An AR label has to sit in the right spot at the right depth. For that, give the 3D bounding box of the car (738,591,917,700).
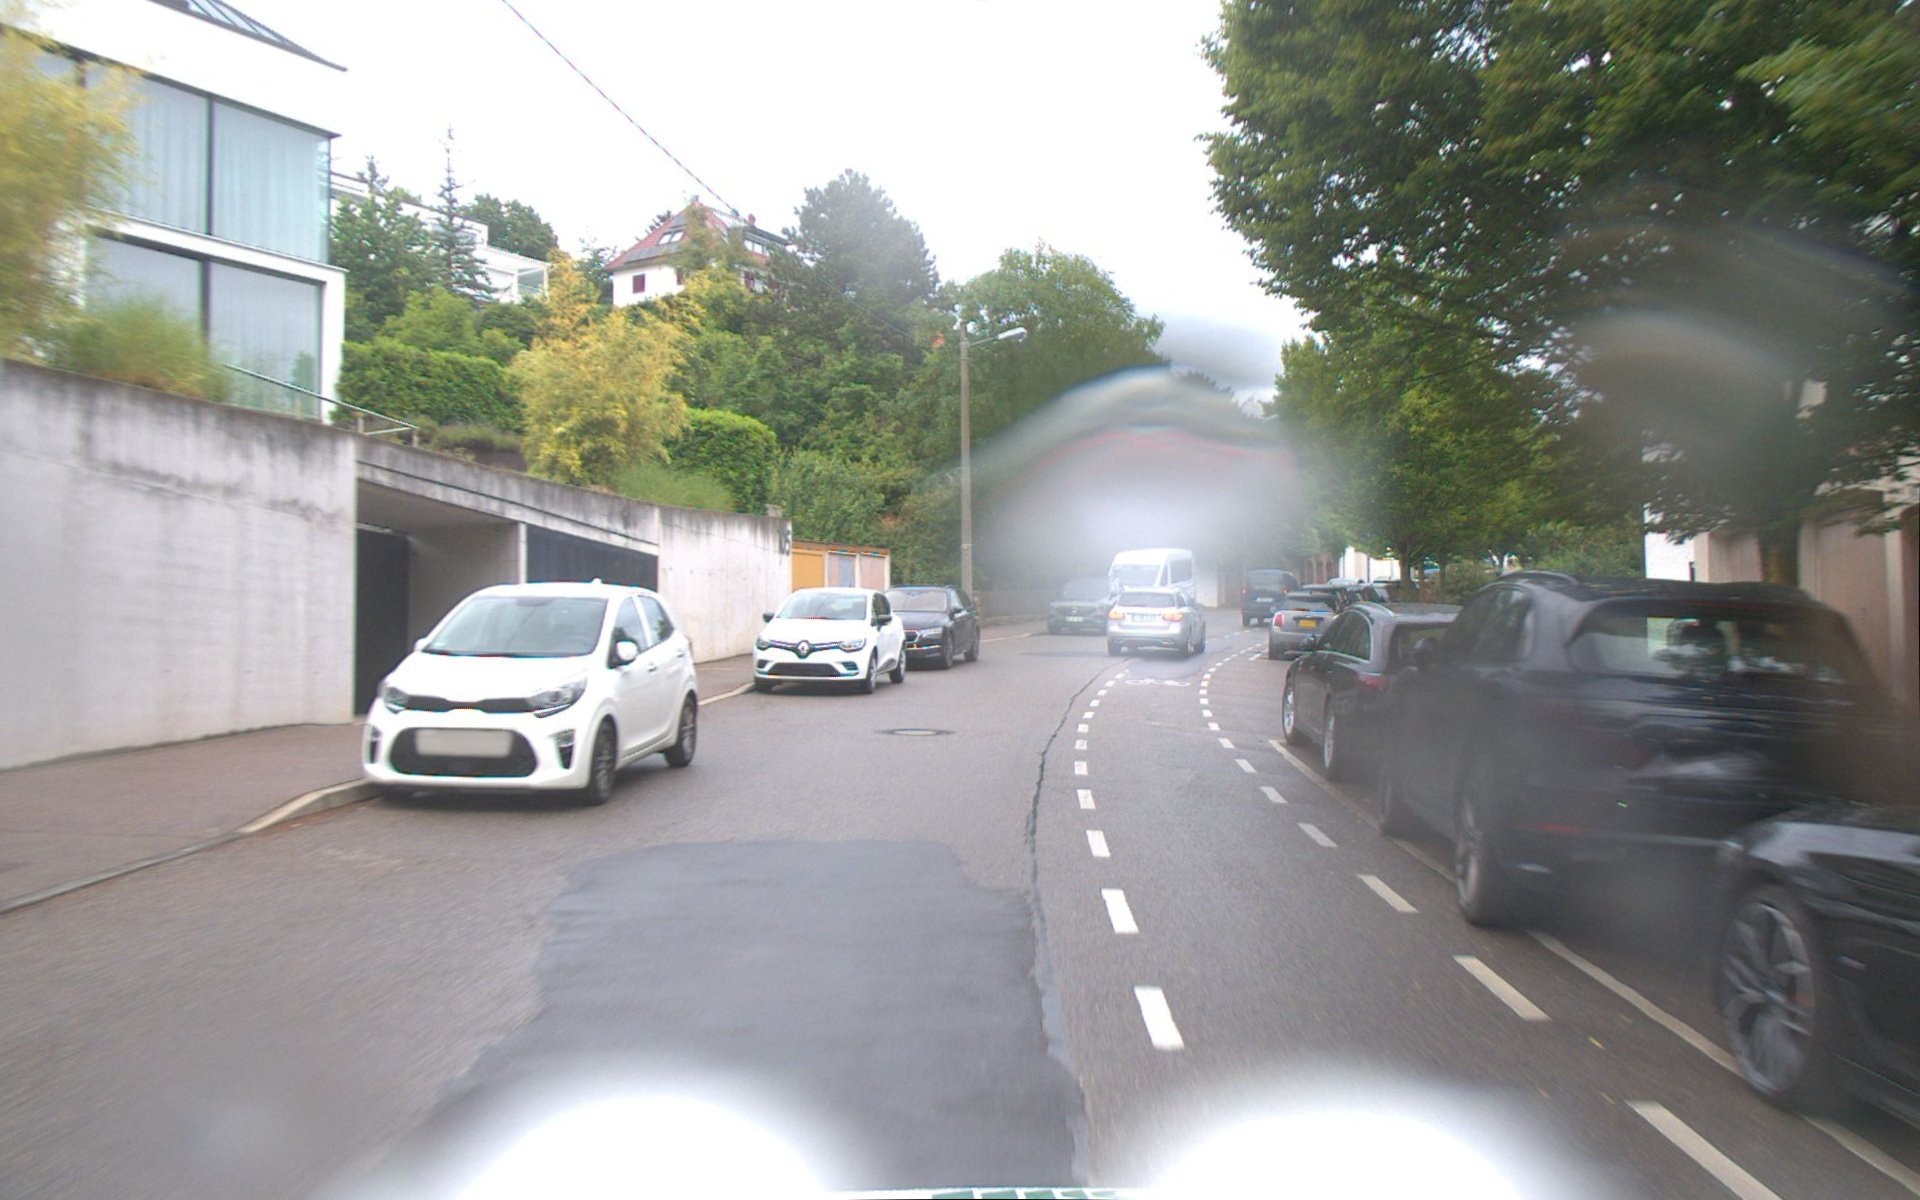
[{"bbox_3d":[-1.848,0.600,24.388,1.793,1.465,4.043,0,0,8],"label":"car"}]

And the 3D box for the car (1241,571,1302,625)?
[{"bbox_3d":[10.589,-0.074,56.169,1.951,1.738,4.003,1,0,11],"label":"car"}]

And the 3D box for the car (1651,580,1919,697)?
[{"bbox_3d":[12.636,0.591,24.426,4.212,1.491,1.936,3,-1,15],"label":"car"}]

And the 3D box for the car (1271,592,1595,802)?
[{"bbox_3d":[4.098,0.726,15.203,1.823,1.494,5.059,3,1,4],"label":"car"}]

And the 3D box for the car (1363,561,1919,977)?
[{"bbox_3d":[3.641,0.667,9.412,2.010,1.685,5.240,1,0,7],"label":"car"}]

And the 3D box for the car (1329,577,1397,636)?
[{"bbox_3d":[11.344,0.139,46.415,1.619,1.546,4.003,2,1,17],"label":"car"}]

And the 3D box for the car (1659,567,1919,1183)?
[{"bbox_3d":[3.419,0.732,3.517,1.816,1.608,4.858,0,0,0],"label":"car"}]

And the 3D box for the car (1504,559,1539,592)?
[{"bbox_3d":[36.485,-1.596,107.466,1.952,2.088,5.122,1,1,21],"label":"car"}]

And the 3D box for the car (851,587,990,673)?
[{"bbox_3d":[-0.658,0.508,31.093,1.676,1.485,4.686,0,0,11],"label":"car"}]

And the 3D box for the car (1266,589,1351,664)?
[{"bbox_3d":[7.716,0.532,36.431,1.633,1.496,3.713,2,1,14],"label":"car"}]

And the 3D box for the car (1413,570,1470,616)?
[{"bbox_3d":[20.948,-0.354,71.835,1.742,1.884,4.423,1,2,24],"label":"car"}]

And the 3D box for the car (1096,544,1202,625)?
[{"bbox_3d":[6.495,-0.548,56.214,2.051,2.594,6.097,0,1,22],"label":"car"}]

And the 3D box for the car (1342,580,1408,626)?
[{"bbox_3d":[14.410,0.074,57.289,1.609,1.448,4.288,2,2,22],"label":"car"}]

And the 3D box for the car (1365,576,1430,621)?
[{"bbox_3d":[16.497,-0.091,62.287,1.680,1.583,4.162,2,2,24],"label":"car"}]

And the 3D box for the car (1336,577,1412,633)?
[{"bbox_3d":[12.845,0.108,51.174,1.739,1.580,4.729,2,1,20],"label":"car"}]

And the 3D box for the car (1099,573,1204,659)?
[{"bbox_3d":[4.242,0.320,36.157,1.982,1.738,4.219,1,0,11],"label":"car"}]

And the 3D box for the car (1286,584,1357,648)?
[{"bbox_3d":[9.462,0.391,43.188,1.592,1.590,3.024,1,1,16],"label":"car"}]

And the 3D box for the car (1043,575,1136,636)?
[{"bbox_3d":[3.856,0.139,48.682,1.856,1.721,4.549,0,0,16],"label":"car"}]

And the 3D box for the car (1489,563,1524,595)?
[{"bbox_3d":[31.617,-1.217,95.679,1.743,1.814,4.680,0,1,21],"label":"car"}]

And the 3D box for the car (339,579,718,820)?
[{"bbox_3d":[-3.052,0.611,12.518,1.593,1.542,3.835,0,1,5],"label":"car"}]

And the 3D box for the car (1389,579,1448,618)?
[{"bbox_3d":[18.666,-0.079,67.252,1.616,1.507,4.016,1,1,26],"label":"car"}]
